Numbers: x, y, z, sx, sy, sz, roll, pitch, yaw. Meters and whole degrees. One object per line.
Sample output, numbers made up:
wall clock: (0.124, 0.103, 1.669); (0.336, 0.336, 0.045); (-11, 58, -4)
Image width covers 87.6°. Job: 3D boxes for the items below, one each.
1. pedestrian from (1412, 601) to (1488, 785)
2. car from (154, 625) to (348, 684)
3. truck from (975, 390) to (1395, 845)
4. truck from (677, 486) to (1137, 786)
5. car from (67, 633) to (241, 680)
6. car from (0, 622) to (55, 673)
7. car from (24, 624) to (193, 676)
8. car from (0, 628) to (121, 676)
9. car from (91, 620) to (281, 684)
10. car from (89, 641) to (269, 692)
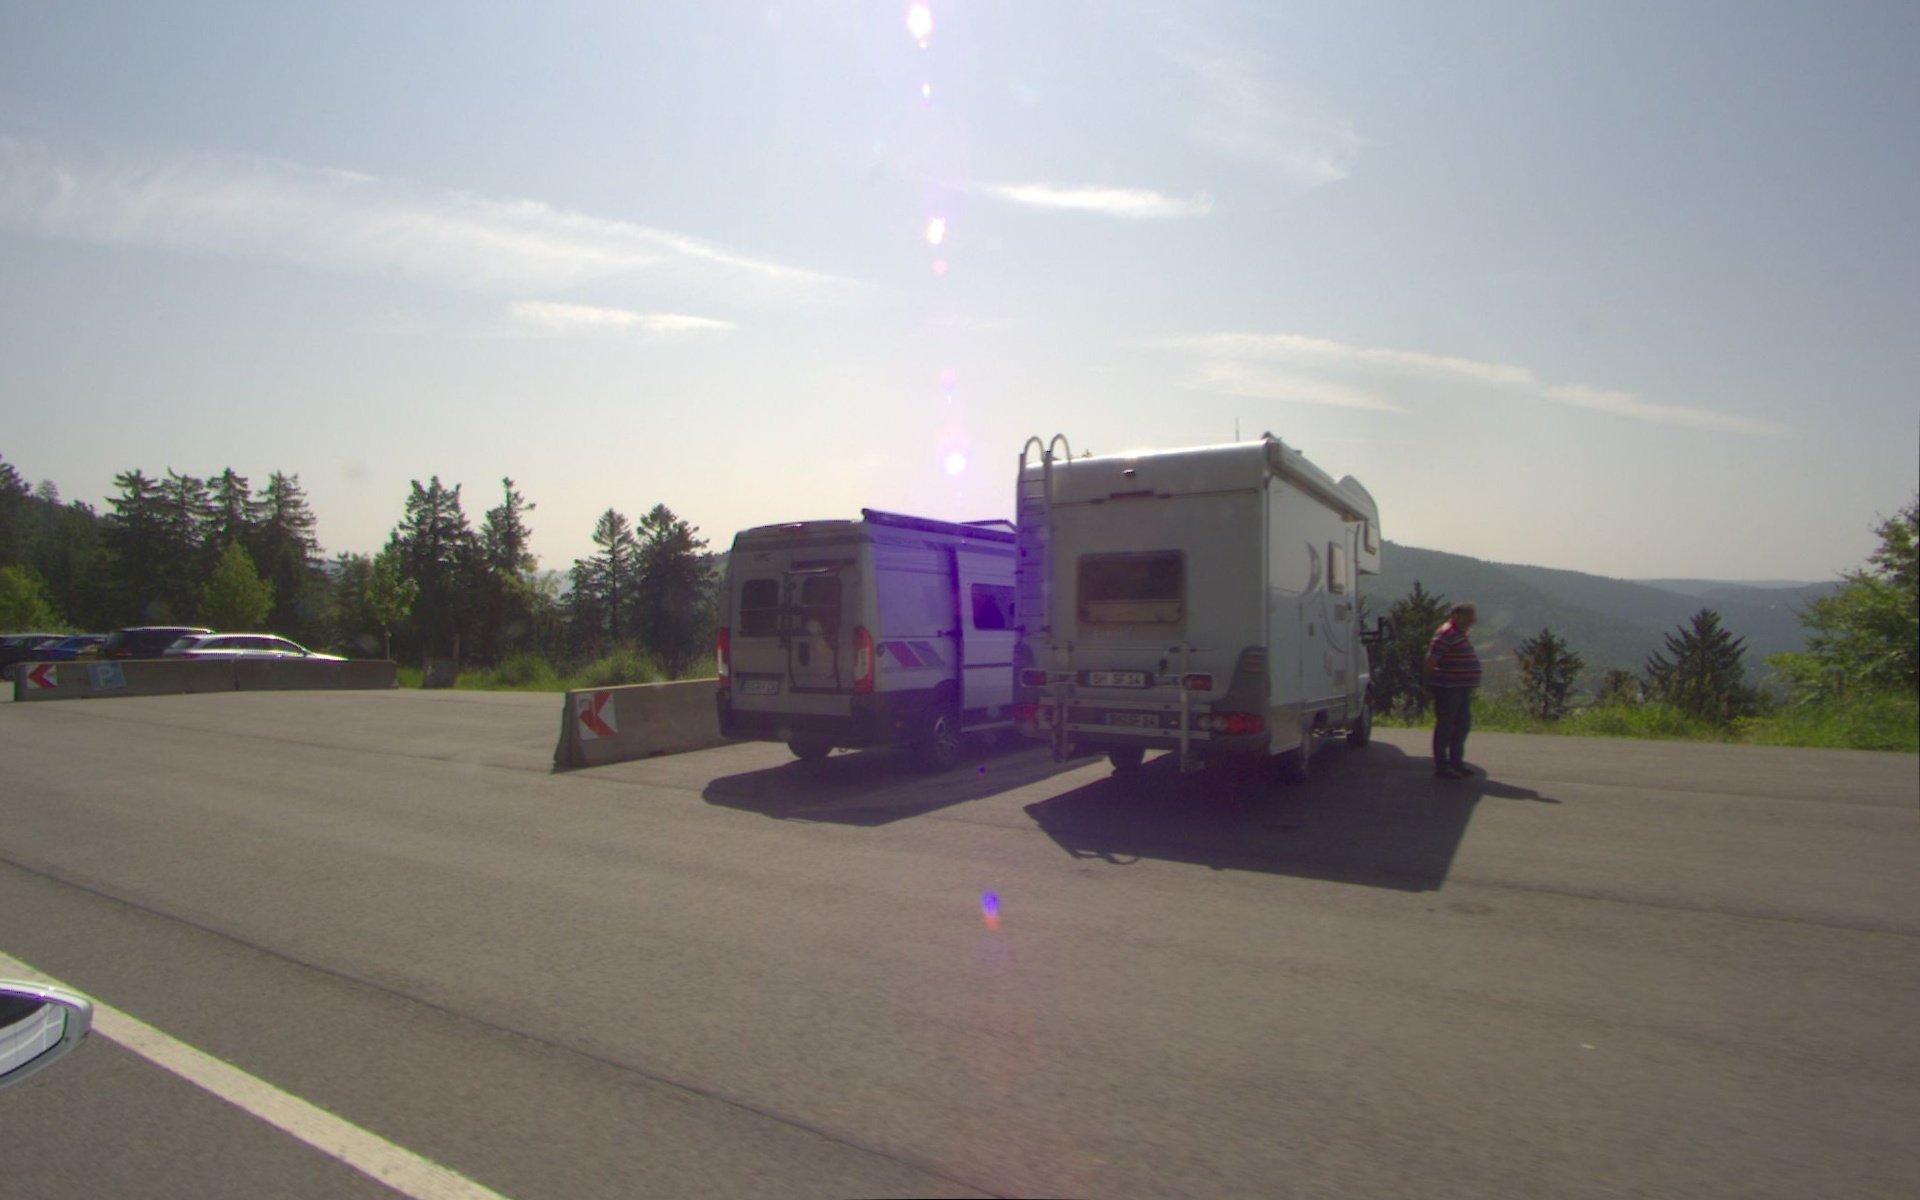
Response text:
pedestrian: (4.653, 0.849, 9.495); (0.622, 1.662, 0.645); (0, 0, 29)
car: (-19.341, 1.483, 27.498); (1.747, 1.494, 3.984); (-1, -3, 31)
truck: (2.745, 0.158, 10.379); (2.495, 3.238, 6.054); (-1, 0, 31)
truck: (-0.182, 0.333, 12.022); (2.307, 2.625, 6.246); (0, 0, 33)
car: (-25.912, 1.761, 32.310); (1.959, 1.370, 3.979); (-1, -2, 32)
car: (-35.326, 1.697, 35.652); (1.864, 1.817, 4.258); (-1, -2, 31)
car: (-28.818, 1.641, 34.013); (1.779, 1.556, 3.983); (3, 1, 30)
car: (-32.068, 1.786, 35.142); (1.575, 1.587, 3.750); (-1, -1, 27)
car: (-22.020, 1.495, 28.643); (1.576, 1.667, 3.985); (-1, -3, 30)
car: (-23.974, 2.053, 30.879); (1.739, 1.454, 3.992); (-1, -4, 32)
